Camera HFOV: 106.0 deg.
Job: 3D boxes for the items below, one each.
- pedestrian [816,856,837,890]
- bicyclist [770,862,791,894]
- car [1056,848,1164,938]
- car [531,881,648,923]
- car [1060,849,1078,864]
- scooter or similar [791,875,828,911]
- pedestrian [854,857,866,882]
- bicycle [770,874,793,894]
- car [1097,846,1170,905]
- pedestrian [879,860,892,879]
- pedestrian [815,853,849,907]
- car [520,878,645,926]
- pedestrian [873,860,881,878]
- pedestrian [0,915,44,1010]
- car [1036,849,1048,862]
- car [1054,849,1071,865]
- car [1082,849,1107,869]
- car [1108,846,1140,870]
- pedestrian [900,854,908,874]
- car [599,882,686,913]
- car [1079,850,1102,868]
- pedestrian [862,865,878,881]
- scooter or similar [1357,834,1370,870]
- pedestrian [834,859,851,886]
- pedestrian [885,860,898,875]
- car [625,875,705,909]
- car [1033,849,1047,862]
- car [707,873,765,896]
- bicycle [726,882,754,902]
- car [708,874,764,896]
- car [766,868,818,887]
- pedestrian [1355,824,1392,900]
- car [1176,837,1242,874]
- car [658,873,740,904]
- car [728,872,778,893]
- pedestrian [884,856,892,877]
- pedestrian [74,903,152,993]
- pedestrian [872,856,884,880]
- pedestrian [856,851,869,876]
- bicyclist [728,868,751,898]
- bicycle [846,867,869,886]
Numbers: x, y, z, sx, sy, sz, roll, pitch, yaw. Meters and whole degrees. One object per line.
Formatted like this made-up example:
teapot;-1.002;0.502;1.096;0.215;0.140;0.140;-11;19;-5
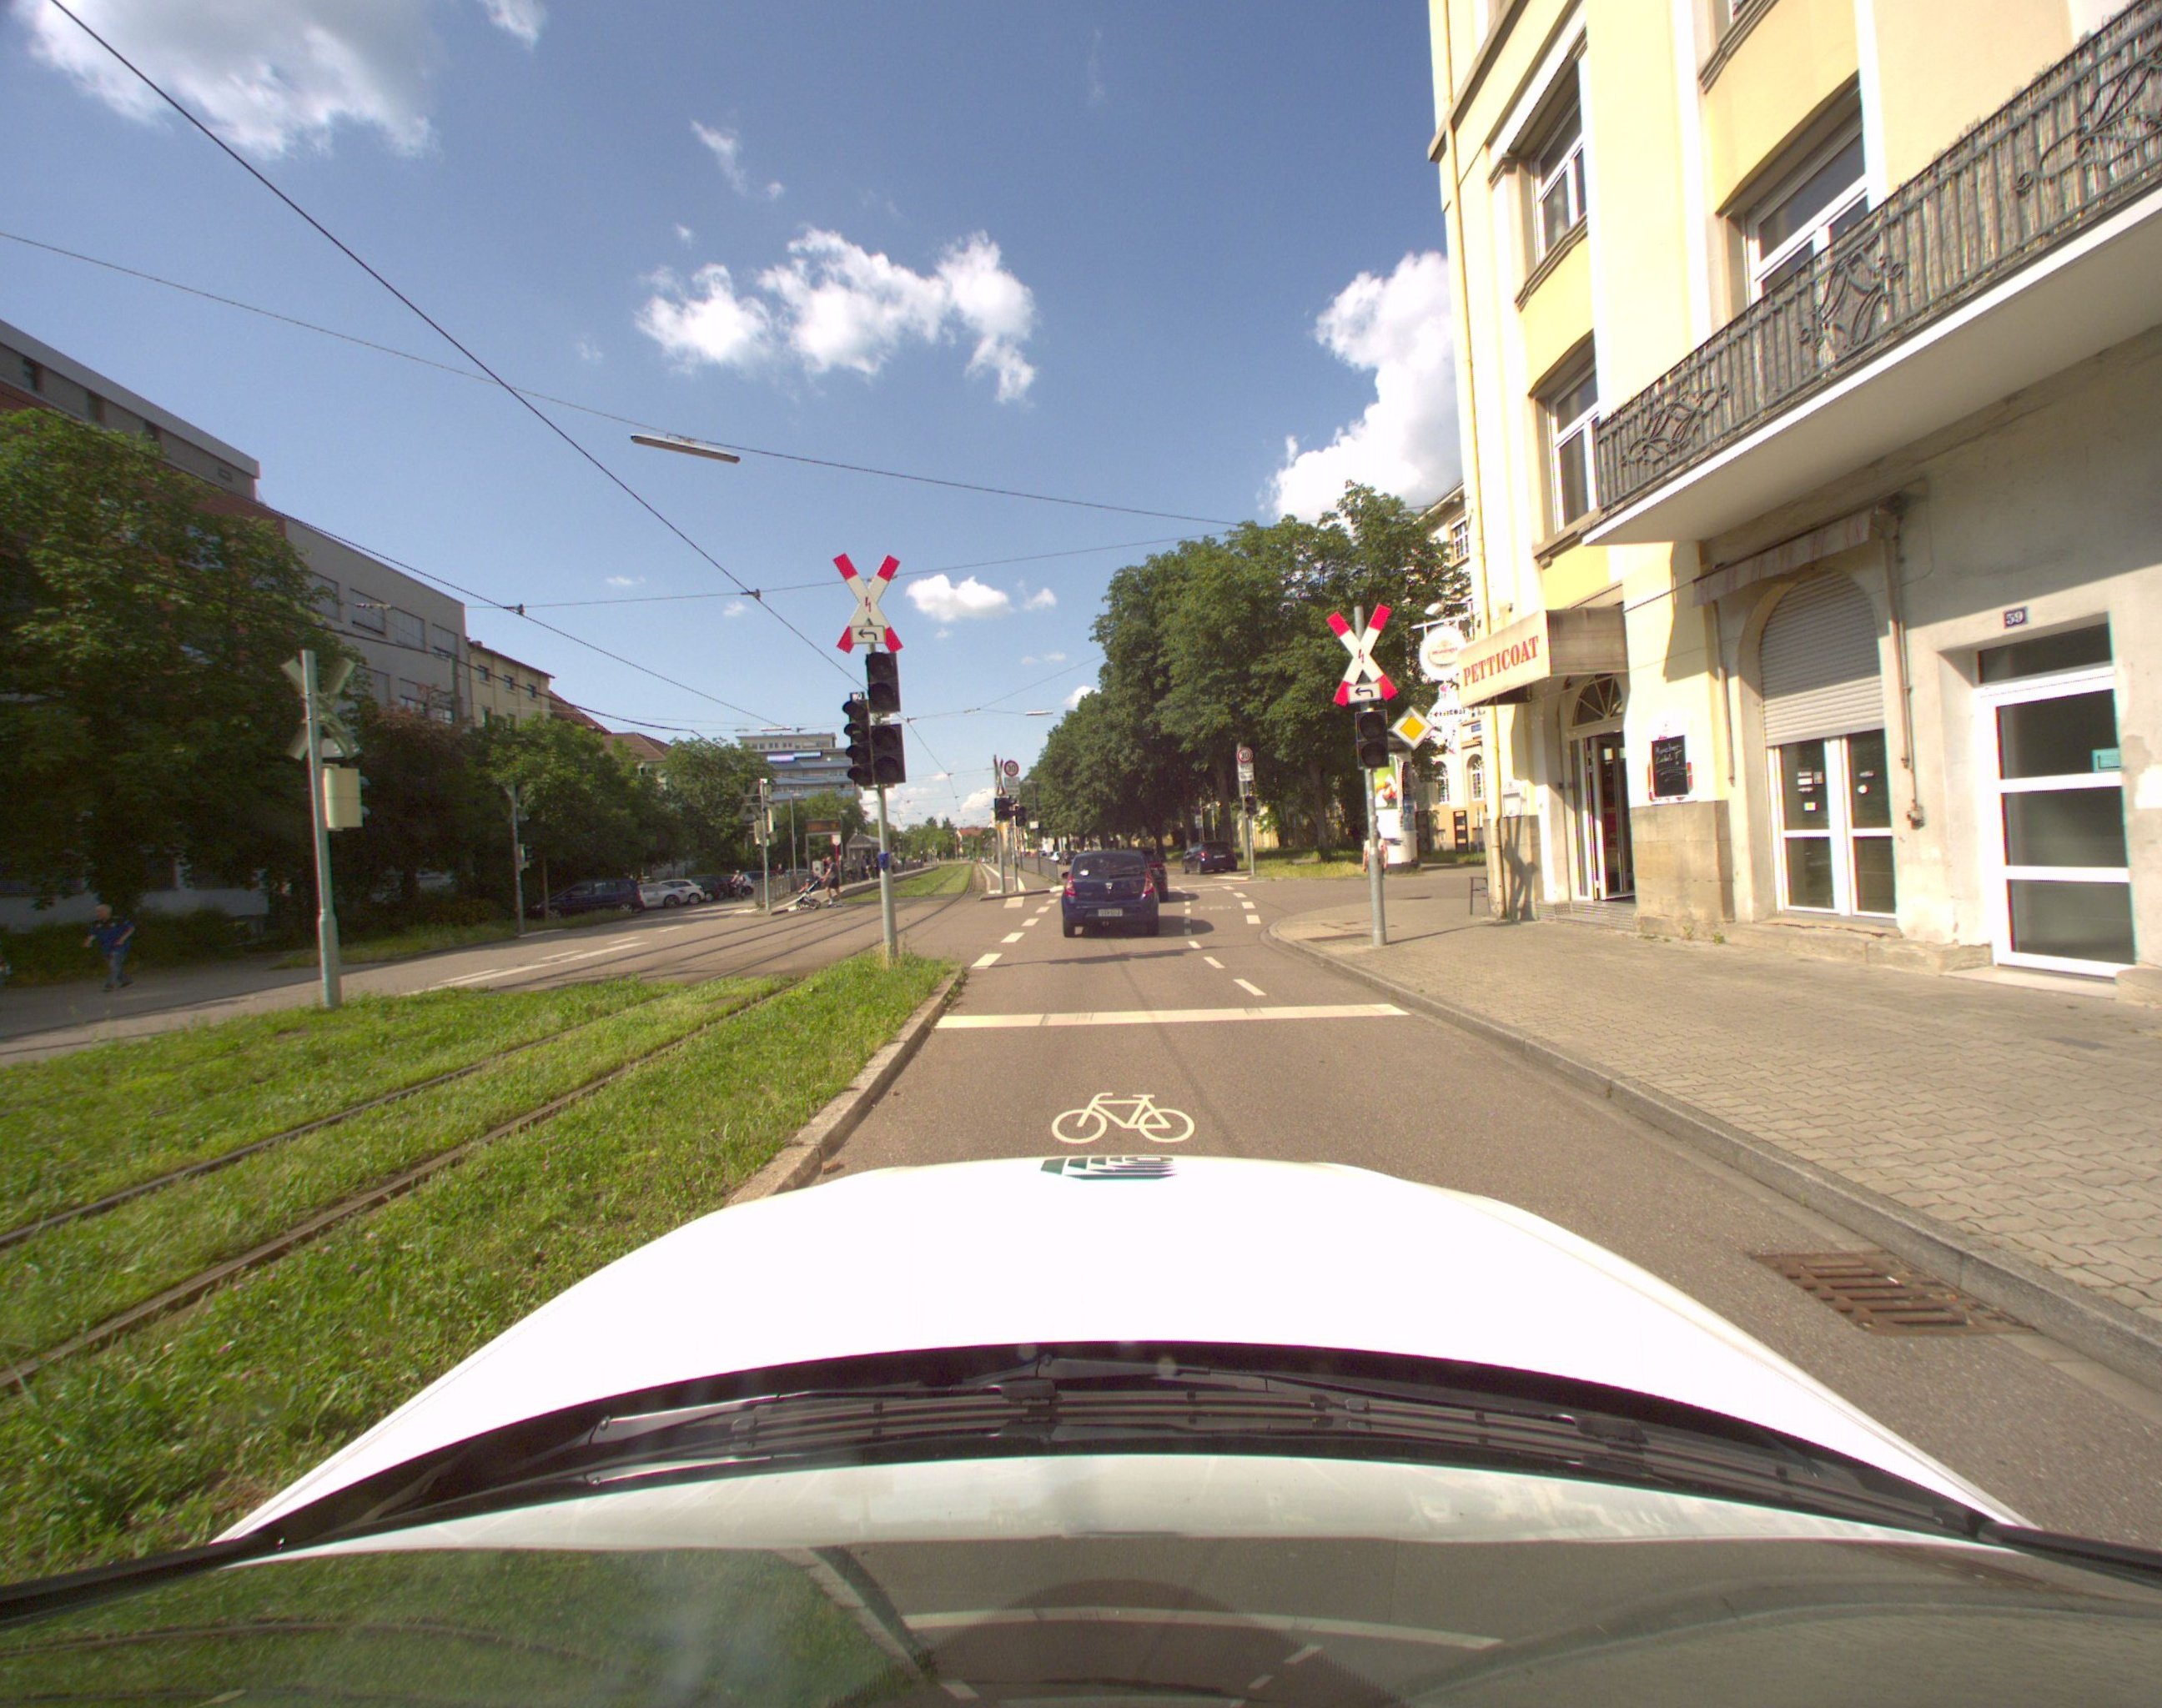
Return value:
pedestrian;-13.758;1.028;44.030;0.705;1.726;0.672;-4;0;35
bicyclist;-19.999;1.581;54.291;0.949;2.013;1.568;-6;0;-14
car;0.534;0.645;15.630;1.761;1.462;3.776;-2;0;1
car;-22.128;2.127;36.782;1.704;1.499;4.158;-4;0;44
car;-1.335;0.239;91.457;1.823;1.537;3.998;-5;0;-2
scooter or similar;-9.216;1.311;27.659;0.953;1.064;0.795;-6;0;-8
pedestrian;-16.137;1.128;59.554;0.592;1.736;0.556;-4;0;-3
bicycle;-19.947;1.985;54.235;1.156;1.177;1.779;-5;0;-14
car;1.369;0.526;22.323;1.694;1.368;3.514;-4;1;0
pedestrian;-14.734;1.172;61.448;0.648;1.425;0.566;-4;0;30
pedestrian;-8.577;0.872;28.089;0.870;1.775;1.000;-4;0;-9
car;-21.086;2.000;34.593;1.704;1.640;4.158;-4;0;44
pedestrian;-16.843;1.270;67.218;0.489;1.452;0.461;-4;0;-17
pedestrian;-18.654;1.876;13.881;0.742;1.574;0.889;-4;-1;1
car;-6.004;0.197;124.646;1.664;1.771;3.996;-4;0;-3
car;-2.251;0.343;99.734;1.616;1.749;3.991;-4;0;-6
car;1.135;0.394;68.874;1.856;1.445;3.998;-5;0;-2
car;2.994;0.244;57.489;1.856;1.445;3.998;-5;0;-2
pedestrian;-17.618;0.986;81.042;0.661;2.013;0.800;-4;0;-12
car;-21.665;2.146;40.321;1.525;1.236;3.410;-4;0;44
car;0.819;0.428;73.514;1.846;1.515;3.998;-4;0;-2
pedestrian;-14.794;1.335;57.081;0.923;0.988;0.796;-5;-1;-5
scooter or similar;9.743;-0.087;28.126;0.303;1.189;1.167;-4;0;16
pedestrian;-14.397;1.122;49.156;0.661;1.569;0.686;-5;0;1
pedestrian;-18.798;1.316;80.712;1.033;1.437;0.698;-5;1;-22
car;-22.118;2.030;43.343;3.409;1.505;1.525;-4;0;-45
car;-5.890;0.220;118.533;1.825;1.761;3.998;-4;0;-2
car;-23.308;2.068;55.104;1.437;1.309;3.268;-4;0;35
bicycle;-19.025;2.108;45.458;0.679;0.970;2.176;-4;0;-3
car;-24.322;2.168;57.496;1.437;1.309;3.268;-4;0;37
car;-26.061;2.115;73.614;1.694;1.367;4.025;-4;0;42
pedestrian;6.660;0.173;18.516;0.666;1.648;0.767;-4;-1;21
car;5.669;0.056;36.545;1.764;1.433;3.893;-5;0;-8
car;-22.821;2.027;48.690;1.669;1.456;4.025;-4;0;43
car;-25.473;2.207;63.333;1.437;1.309;3.268;-4;0;37
pedestrian;-16.046;1.026;67.566;0.489;1.712;0.461;-4;0;-17
pedestrian;-19.130;1.834;16.110;0.555;1.657;0.747;-4;0;1
pedestrian;-15.132;1.057;60.855;0.602;1.765;0.639;-4;0;2
pedestrian;-14.938;0.649;55.680;0.654;1.692;0.655;-4;0;-7
bicyclist;-19.070;1.613;45.482;0.783;1.581;0.862;-4;0;-4
bicycle;-13.383;1.327;48.856;0.683;0.974;1.772;-6;1;3
